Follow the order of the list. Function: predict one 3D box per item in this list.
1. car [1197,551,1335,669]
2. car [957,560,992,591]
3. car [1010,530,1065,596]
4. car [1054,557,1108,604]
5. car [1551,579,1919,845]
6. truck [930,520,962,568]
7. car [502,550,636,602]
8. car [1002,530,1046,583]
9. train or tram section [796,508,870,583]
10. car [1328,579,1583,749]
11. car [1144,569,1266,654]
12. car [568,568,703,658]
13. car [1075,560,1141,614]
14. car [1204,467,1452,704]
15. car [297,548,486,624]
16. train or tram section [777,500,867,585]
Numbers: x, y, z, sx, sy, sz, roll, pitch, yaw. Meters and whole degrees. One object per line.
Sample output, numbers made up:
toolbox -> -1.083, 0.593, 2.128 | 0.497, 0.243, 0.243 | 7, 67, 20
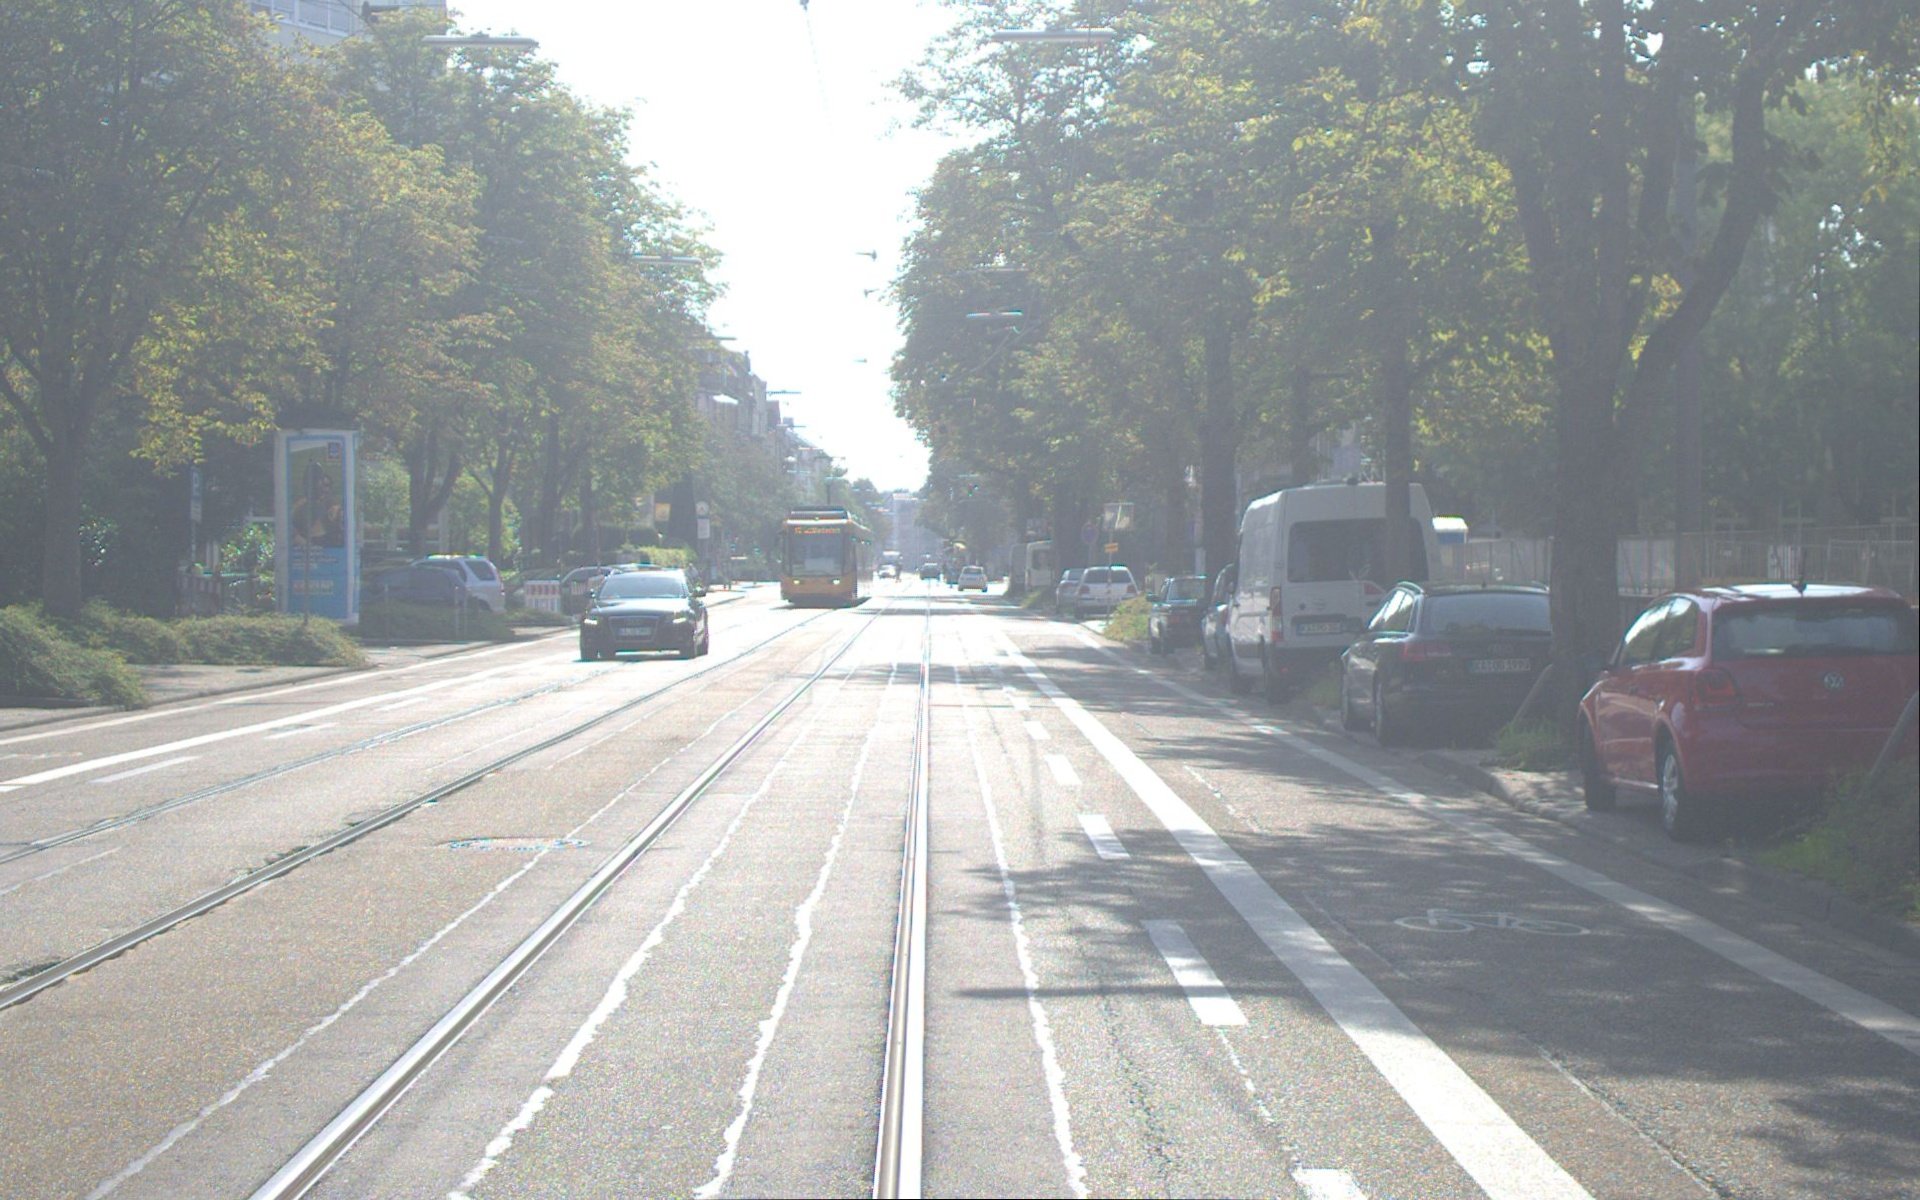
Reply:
car -> 4.476, 0.117, 50.681 | 1.664, 1.611, 3.877 | -1, 1, 0
car -> 0.848, -1.443, 202.062 | 1.993, 1.831, 4.000 | 0, 1, 1
car -> 3.038, -1.431, 135.547 | 2.004, 2.482, 4.477 | 2, 0, 0
car -> 3.767, -0.619, 107.426 | 1.595, 1.413, 3.634 | 0, 1, 0
car -> 4.724, 0.597, 20.739 | 1.616, 1.409, 4.000 | -1, 1, 0
truck -> -0.922, -3.632, 224.236 | 1.860, 3.120, 4.353 | 0, 1, -2
car -> -11.058, -0.682, 97.389 | 1.569, 1.438, 3.754 | 1, 1, 40
car -> 3.009, -2.066, 162.577 | 2.004, 2.467, 4.477 | 0, 1, 0
train or tram section -> -4.967, -2.123, 135.163 | 2.729, 2.840, 6.543 | 0, 1, 0
car -> 4.380, 0.517, 31.008 | 1.616, 1.369, 4.827 | -1, 1, 0
car -> 4.264, 0.170, 60.336 | 1.753, 1.373, 4.719 | -2, 1, 0
car -> -5.185, 0.177, 55.408 | 1.828, 1.371, 4.513 | 0, 1, -1
car -> 4.018, -0.370, 93.772 | 1.689, 1.413, 3.634 | 0, 1, 0
car -> 4.319, -0.198, 41.243 | 2.082, 2.544, 5.502 | -3, 1, -2
car -> -12.482, -0.318, 75.630 | 3.786, 1.616, 1.743 | 0, 1, -45
train or tram section -> -4.881, -2.031, 124.127 | 2.729, 2.884, 15.455 | 0, 1, 0
